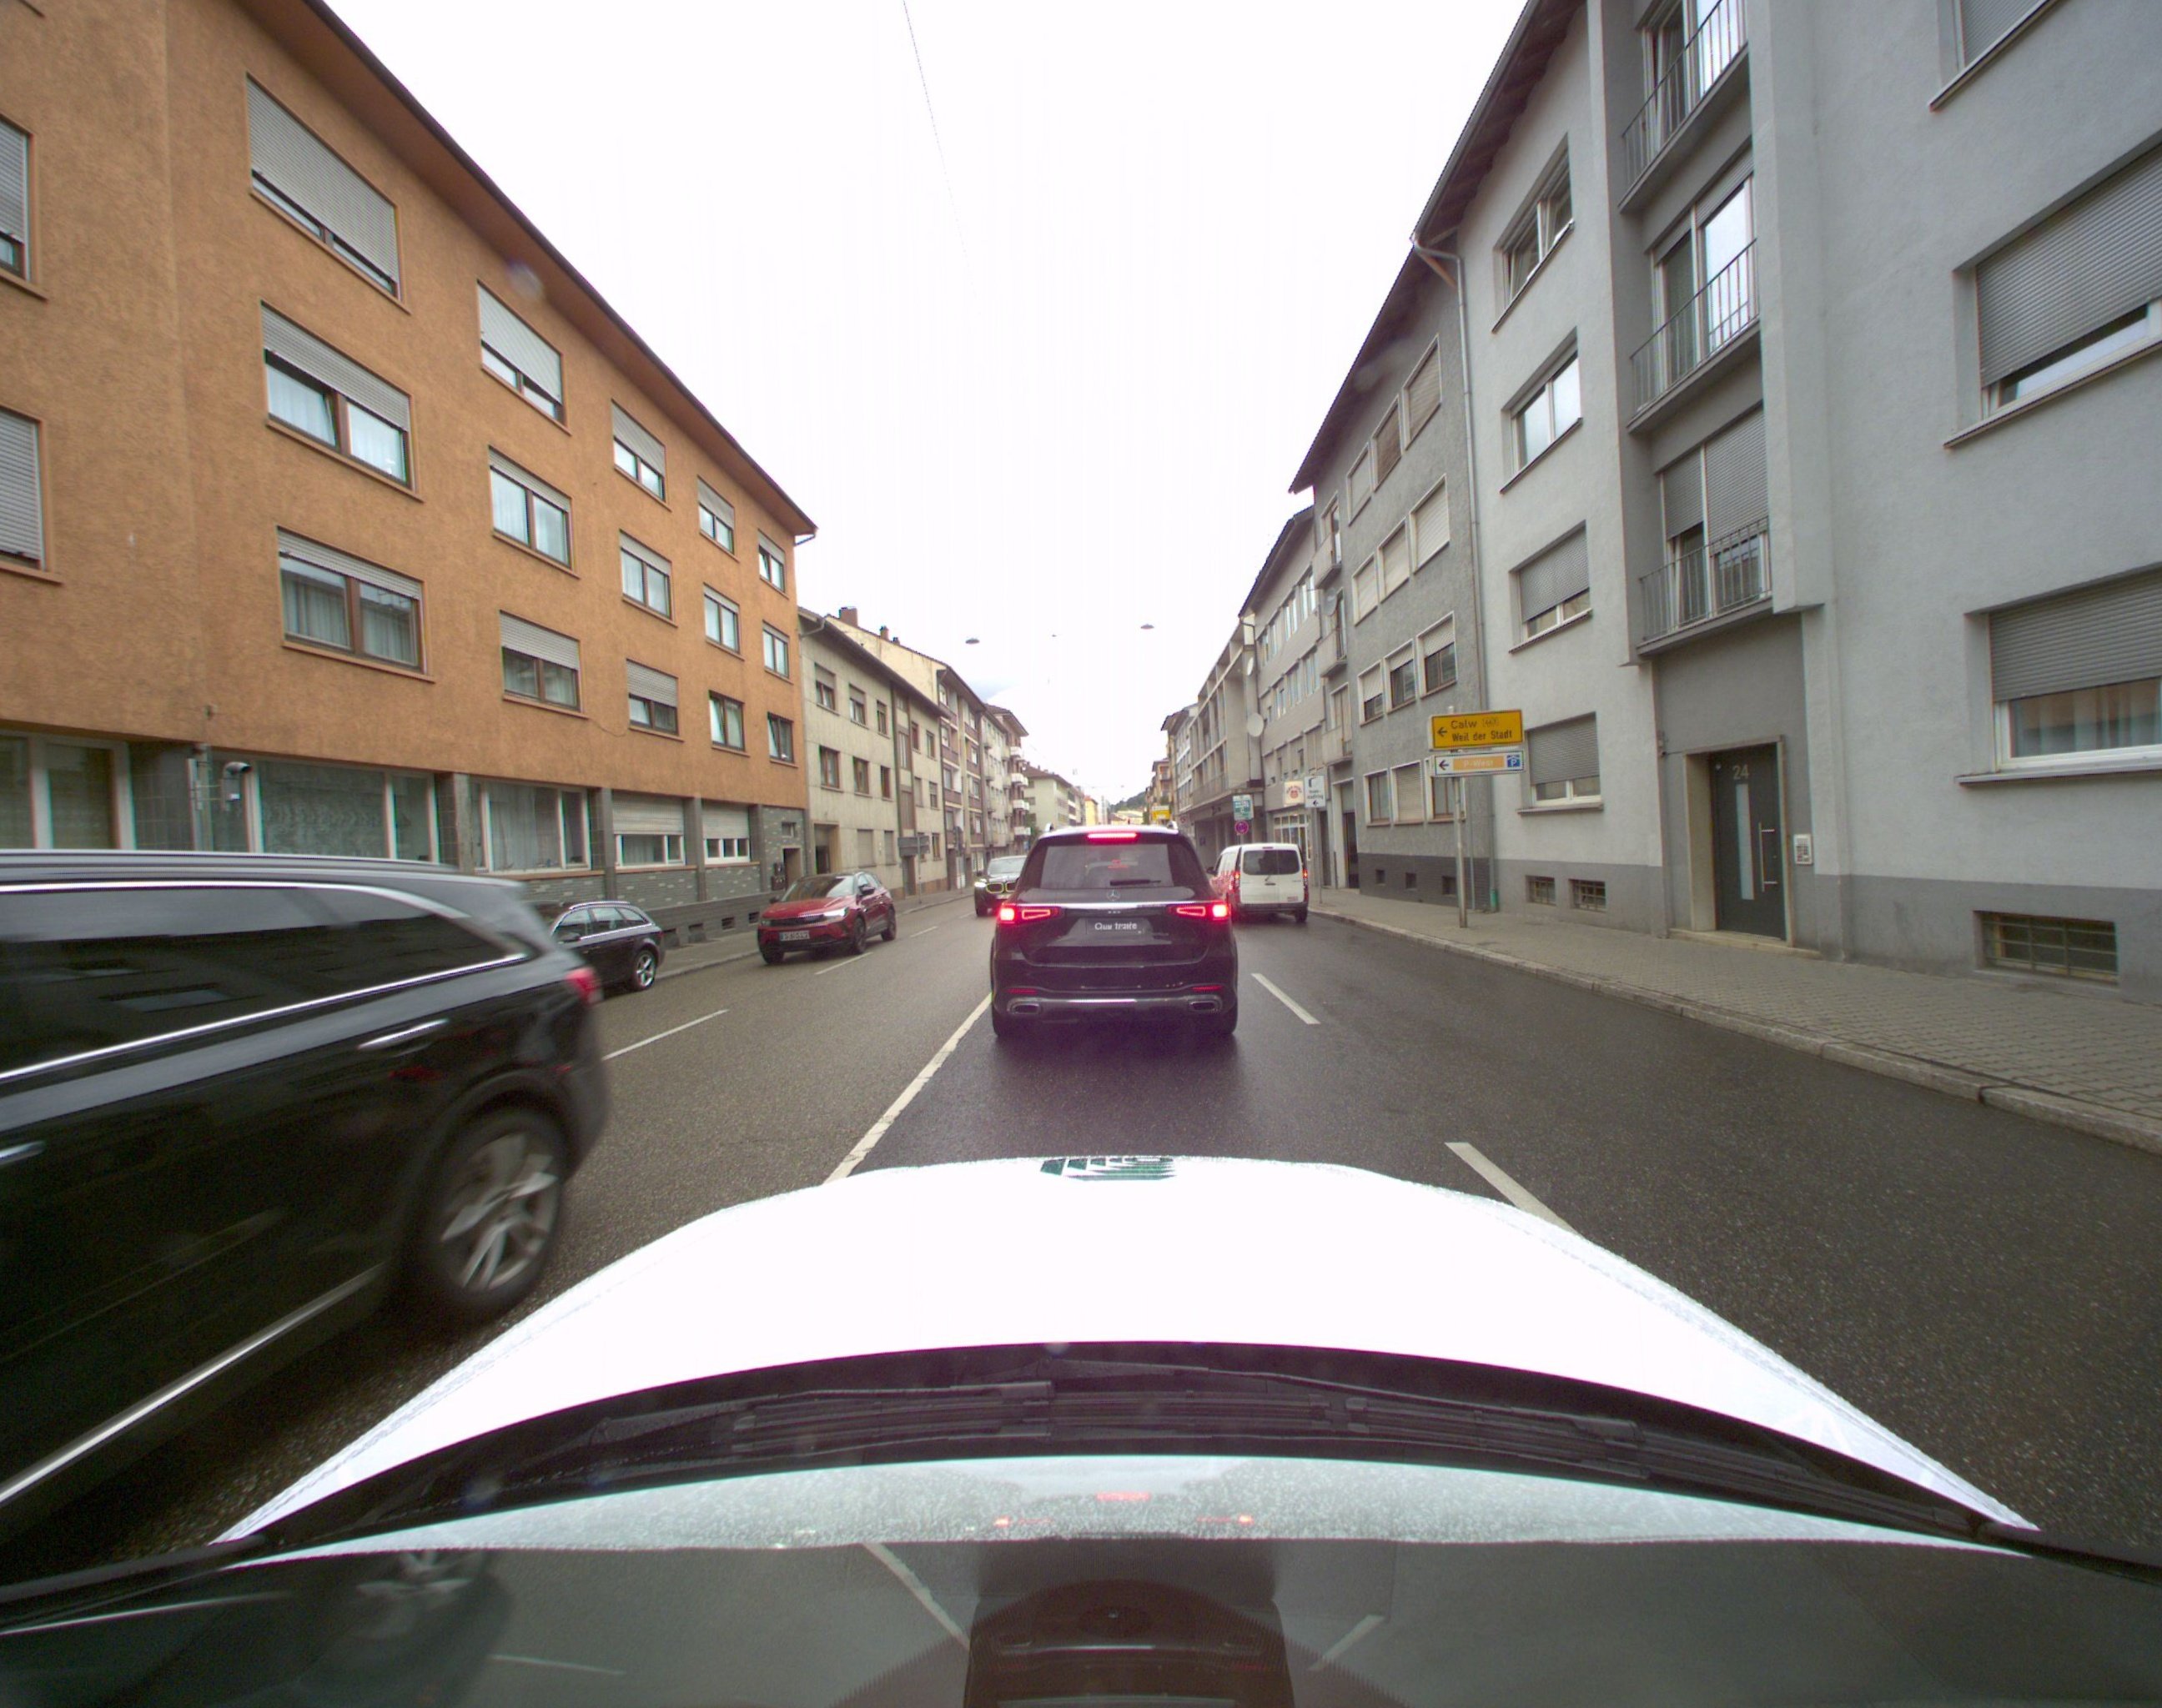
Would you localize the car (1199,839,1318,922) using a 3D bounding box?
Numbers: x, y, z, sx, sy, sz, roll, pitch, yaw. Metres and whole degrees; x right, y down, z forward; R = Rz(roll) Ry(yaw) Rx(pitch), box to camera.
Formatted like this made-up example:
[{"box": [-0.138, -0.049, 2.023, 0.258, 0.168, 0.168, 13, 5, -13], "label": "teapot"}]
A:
[{"box": [4.200, 0.584, 20.029, 1.933, 1.775, 4.747, -1, 0, 1], "label": "car"}]

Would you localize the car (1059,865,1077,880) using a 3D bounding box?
[{"box": [-1.337, 1.985, 87.792, 1.762, 1.346, 3.888, -6, 0, 0], "label": "car"}]

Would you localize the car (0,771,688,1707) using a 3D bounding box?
[{"box": [-2.924, 0.782, 1.676, 1.830, 1.727, 4.475, -5, 0, 1], "label": "car"}]

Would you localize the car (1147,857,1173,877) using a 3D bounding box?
[{"box": [5.850, 0.958, 60.662, 1.615, 1.430, 4.313, 0, 0, 1], "label": "car"}]

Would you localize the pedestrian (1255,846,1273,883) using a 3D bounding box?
[{"box": [8.021, 0.461, 35.729, 0.558, 1.578, 0.526, -5, 0, 1], "label": "pedestrian"}]

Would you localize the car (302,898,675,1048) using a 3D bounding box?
[{"box": [-7.738, 1.447, 11.343, 1.789, 1.438, 4.528, 0, 0, 1], "label": "car"}]

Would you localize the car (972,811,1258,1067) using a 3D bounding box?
[{"box": [0.288, 0.607, 7.776, 2.018, 1.806, 4.001, 0, 0, 1], "label": "car"}]

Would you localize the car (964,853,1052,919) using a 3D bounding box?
[{"box": [-2.191, 0.926, 25.840, 2.119, 1.721, 4.819, -5, 0, 1], "label": "car"}]

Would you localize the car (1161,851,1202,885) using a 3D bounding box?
[{"box": [5.055, 0.663, 41.399, 1.800, 1.606, 4.216, -1, 0, 4], "label": "car"}]

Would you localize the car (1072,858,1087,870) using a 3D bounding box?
[{"box": [-0.206, 1.294, 104.304, 1.718, 1.390, 4.341, -4, 0, 2], "label": "car"}]

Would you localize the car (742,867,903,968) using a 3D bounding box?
[{"box": [-5.047, 1.155, 16.562, 1.792, 1.584, 4.314, -5, 0, -1], "label": "car"}]
